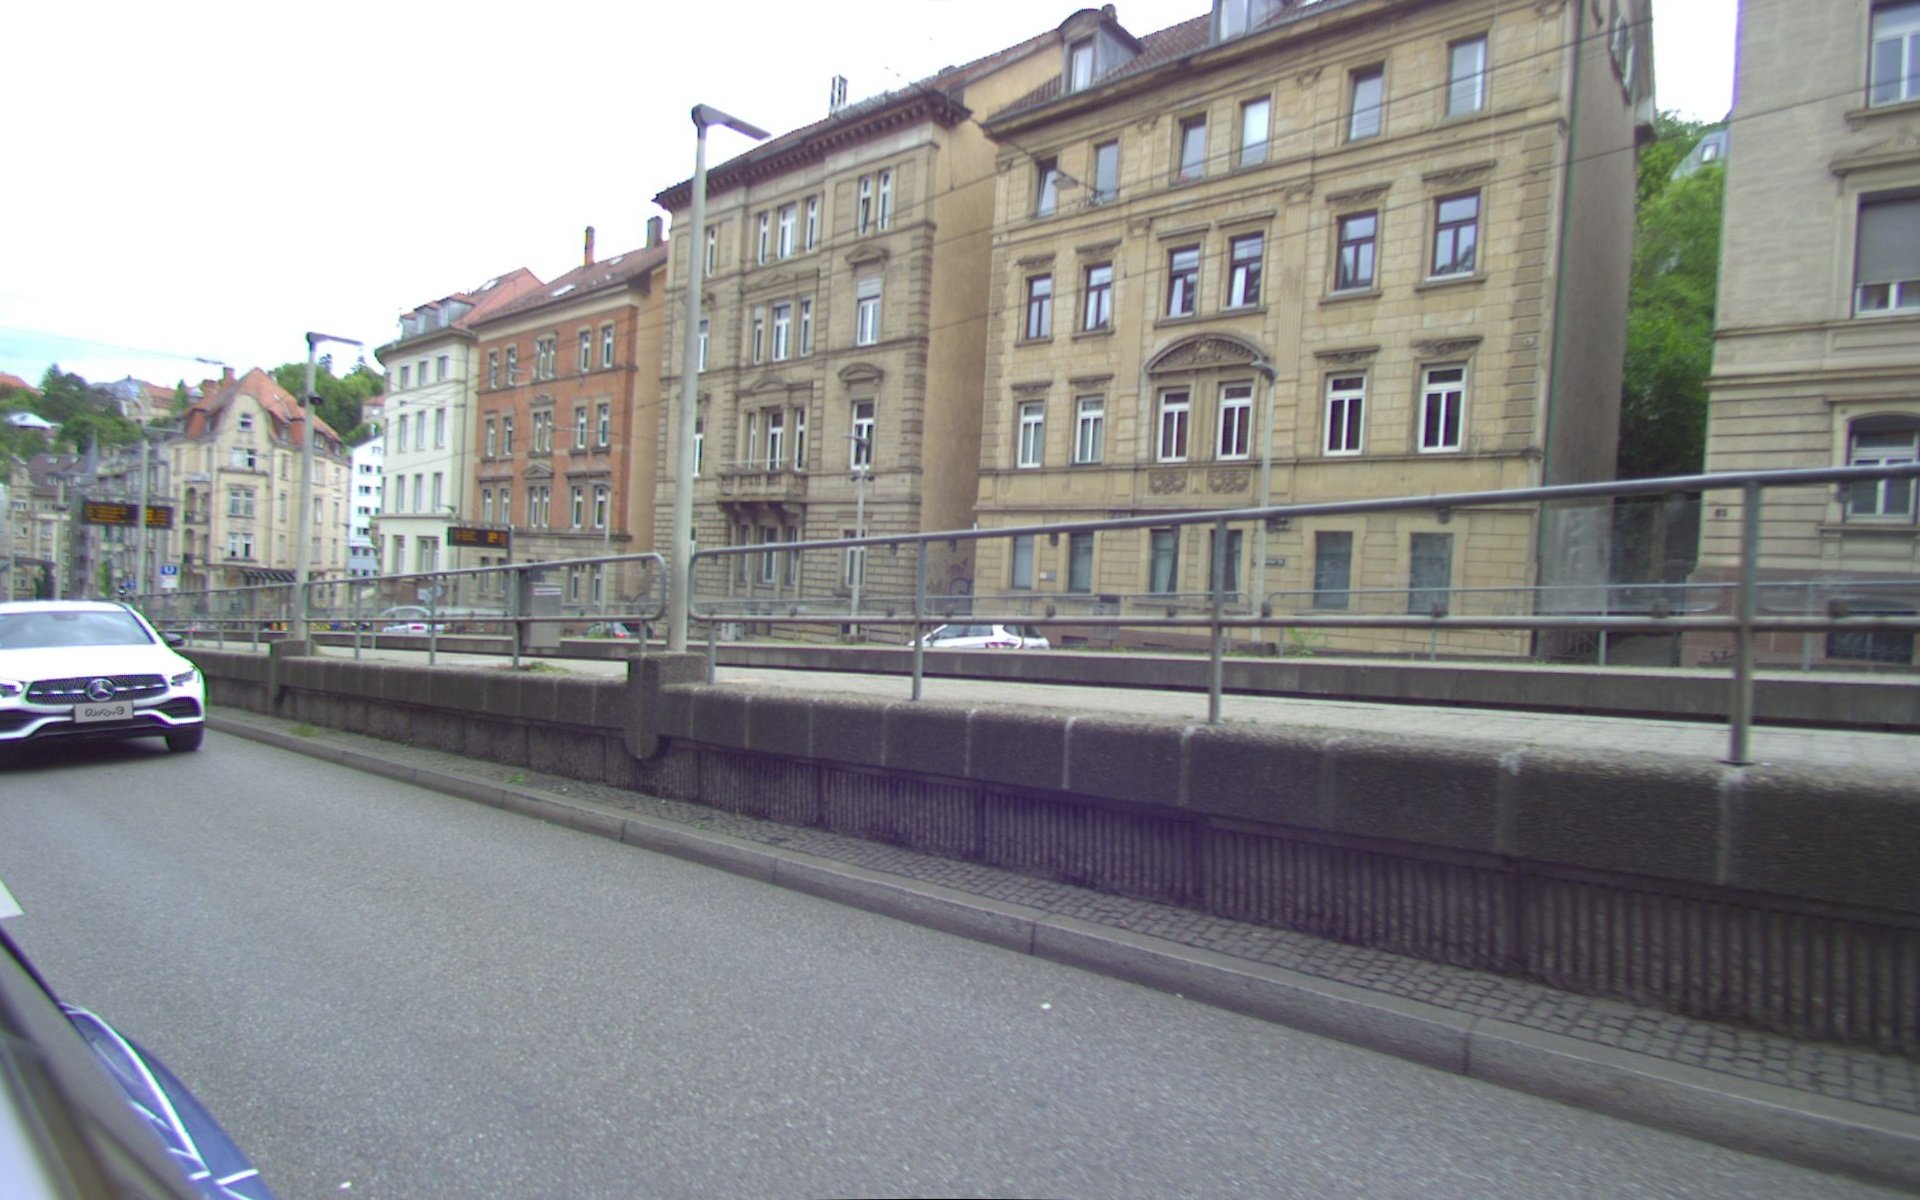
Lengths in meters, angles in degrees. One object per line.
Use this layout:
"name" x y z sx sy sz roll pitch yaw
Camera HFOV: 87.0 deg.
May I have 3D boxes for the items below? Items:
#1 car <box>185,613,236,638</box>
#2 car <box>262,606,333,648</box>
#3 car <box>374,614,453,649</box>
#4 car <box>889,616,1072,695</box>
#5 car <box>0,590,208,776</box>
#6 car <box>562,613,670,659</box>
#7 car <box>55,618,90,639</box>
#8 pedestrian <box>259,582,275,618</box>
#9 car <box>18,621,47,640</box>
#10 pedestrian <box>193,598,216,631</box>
"car" -52.147 1.771 70.356 4.411 1.658 1.843 -1 -2 40
"car" -37.820 1.518 57.678 5.453 2.322 1.972 -1 -2 41
"car" -25.030 1.415 46.282 4.257 1.482 1.750 -1 -1 40
"car" 0.422 1.250 23.717 3.998 1.692 1.915 -1 -3 41
"car" -9.997 0.758 11.182 4.669 1.679 1.816 0 0 42
"car" -12.125 1.264 35.552 3.998 1.540 1.858 -1 -3 41
"car" -74.574 2.396 84.980 3.864 1.778 1.803 -1 -2 43
"pedestrian" -30.252 0.004 44.180 0.540 1.574 0.457 -1 -2 41
"car" -90.668 2.988 98.924 3.864 1.778 1.803 -1 -2 43
"pedestrian" -38.784 0.761 51.974 0.843 1.701 0.757 -2 -2 41
